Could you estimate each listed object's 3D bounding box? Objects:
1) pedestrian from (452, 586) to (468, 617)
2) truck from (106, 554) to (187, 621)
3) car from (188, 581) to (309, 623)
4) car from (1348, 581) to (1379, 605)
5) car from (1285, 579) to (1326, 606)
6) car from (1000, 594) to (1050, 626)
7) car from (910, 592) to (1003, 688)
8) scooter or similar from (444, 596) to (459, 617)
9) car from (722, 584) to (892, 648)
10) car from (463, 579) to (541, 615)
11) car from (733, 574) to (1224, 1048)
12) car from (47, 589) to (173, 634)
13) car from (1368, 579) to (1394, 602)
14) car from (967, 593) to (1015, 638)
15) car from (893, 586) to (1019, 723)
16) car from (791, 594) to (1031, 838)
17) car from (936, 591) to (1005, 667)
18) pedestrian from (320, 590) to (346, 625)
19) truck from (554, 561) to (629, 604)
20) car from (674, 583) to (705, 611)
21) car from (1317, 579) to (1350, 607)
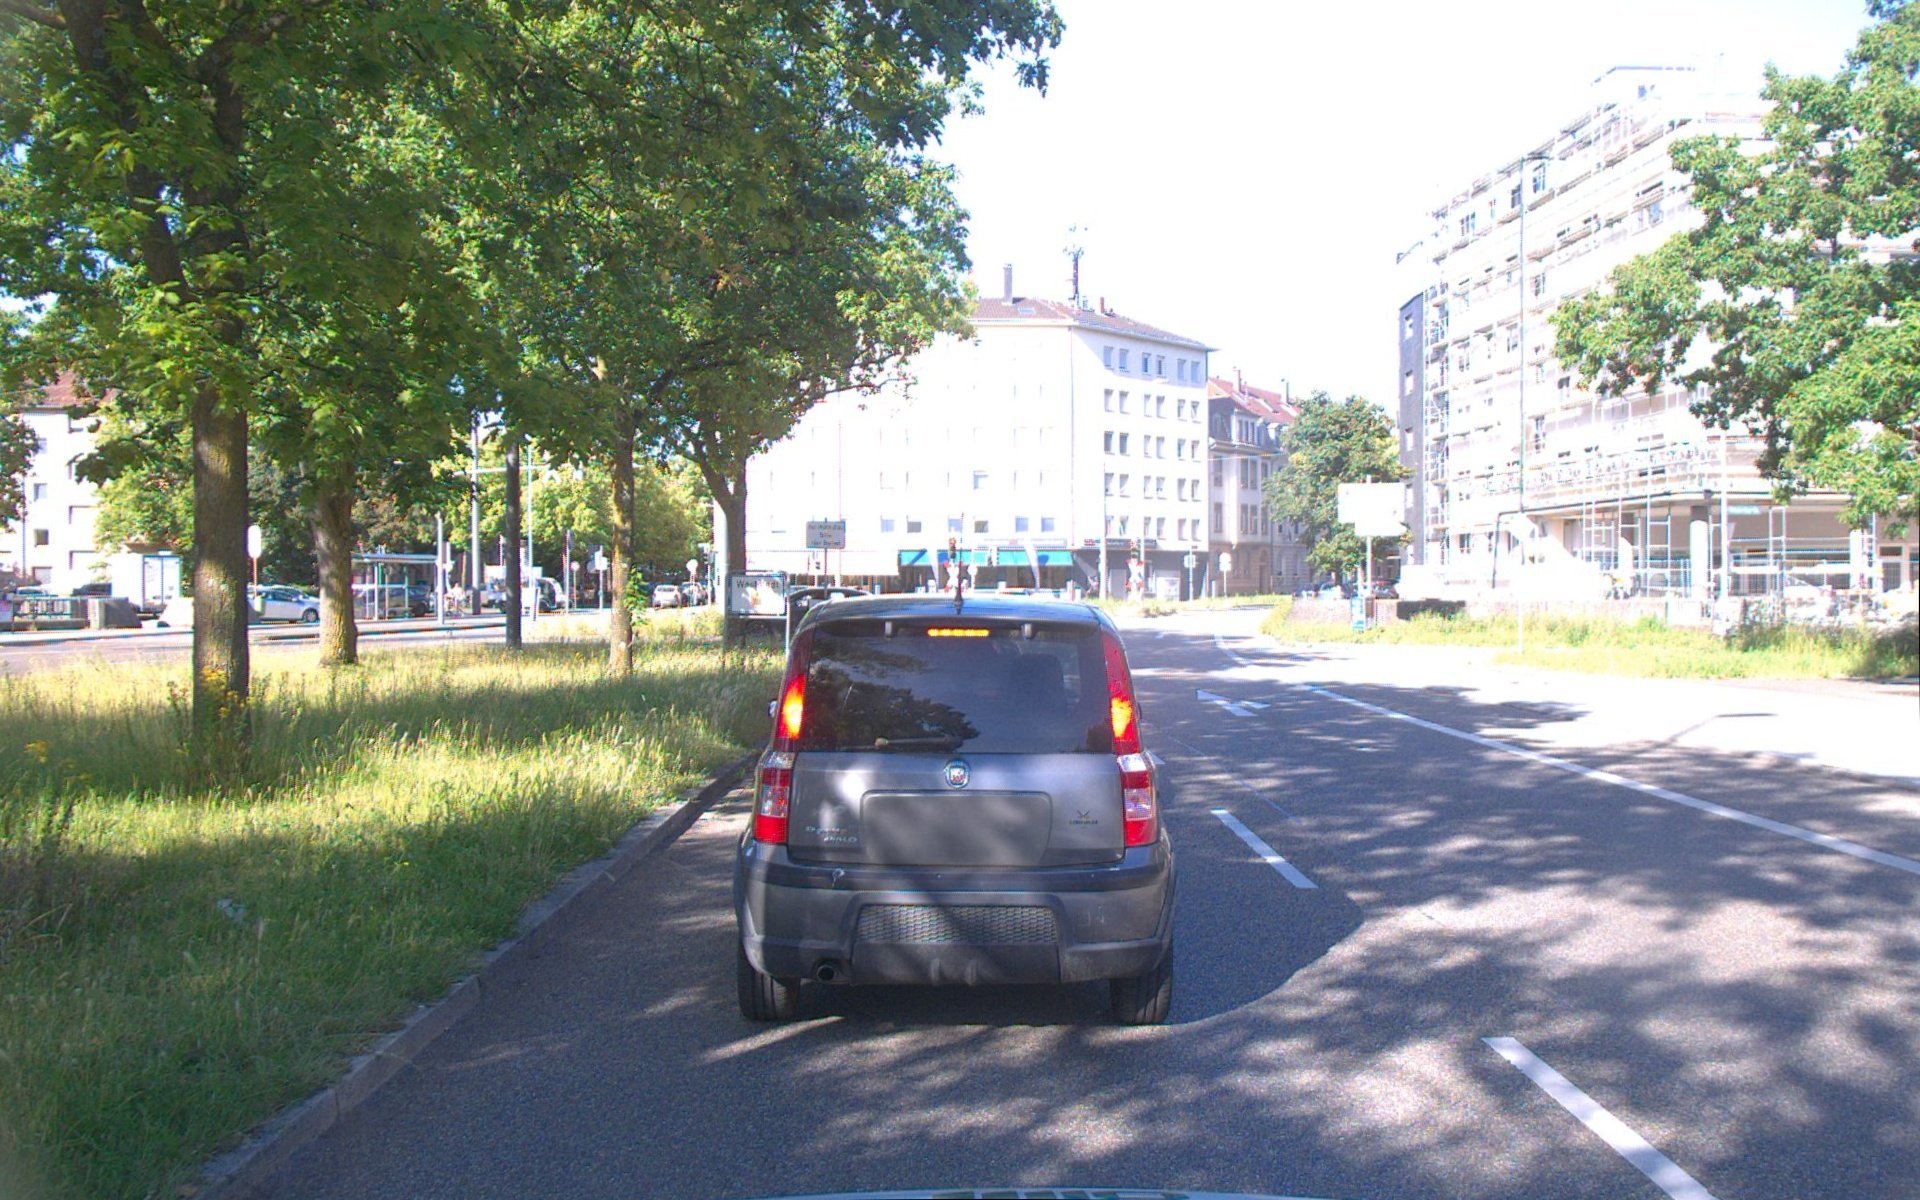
[{"bbox_3d":[-23.421,0.077,77.498,0.407,1.415,0.626,0,0,26],"label":"pedestrian"},{"bbox_3d":[-35.746,-0.550,72.678,3.932,2.854,1.987,0,1,44],"label":"truck"},{"bbox_3d":[-29.957,0.051,69.773,1.961,1.713,4.302,0,1,38],"label":"car"},{"bbox_3d":[23.006,-0.395,94.237,1.495,1.337,3.289,0,1,17],"label":"car"},{"bbox_3d":[19.855,-0.444,94.944,1.648,1.475,3.571,0,1,23],"label":"car"},{"bbox_3d":[2.283,0.335,57.694,1.118,1.083,2.723,0,1,17],"label":"car"},{"bbox_3d":[-0.079,0.611,27.271,1.434,1.449,3.381,0,1,-1],"label":"car"},{"bbox_3d":[-23.669,0.308,76.973,0.411,0.943,0.534,0,0,25],"label":"scooter or similar"},{"bbox_3d":[-4.079,0.418,44.676,4.353,1.676,1.833,0,0,2],"label":"car"},{"bbox_3d":[-27.057,-0.188,97.710,4.093,2.049,1.930,0,0,-3],"label":"car"},{"bbox_3d":[0.034,0.663,7.404,1.595,1.534,3.999,0,1,-1],"label":"car"},{"bbox_3d":[-33.577,0.429,65.393,1.961,1.713,3.983,0,1,38],"label":"car"},{"bbox_3d":[27.068,-0.620,106.255,1.495,1.495,3.289,0,1,17],"label":"car"},{"bbox_3d":[0.918,0.446,49.556,1.328,1.304,2.875,0,1,-1],"label":"car"},{"bbox_3d":[-0.069,0.607,20.617,1.434,1.534,3.504,0,1,-1],"label":"car"},{"bbox_3d":[-0.316,0.687,11.620,1.434,1.425,3.393,0,1,-1],"label":"car"},{"bbox_3d":[0.178,0.558,33.853,1.328,1.475,3.265,0,0,-1],"label":"car"},{"bbox_3d":[-29.306,0.346,77.351,0.904,1.636,0.794,0,0,38],"label":"pedestrian"},{"bbox_3d":[-28.366,-1.355,127.357,5.371,3.224,2.341,0,0,28],"label":"truck"},{"bbox_3d":[-20.161,-0.267,123.274,1.954,2.049,3.996,0,1,-5],"label":"car"},{"bbox_3d":[20.501,-0.393,90.707,1.646,1.475,3.574,0,1,15],"label":"car"}]
